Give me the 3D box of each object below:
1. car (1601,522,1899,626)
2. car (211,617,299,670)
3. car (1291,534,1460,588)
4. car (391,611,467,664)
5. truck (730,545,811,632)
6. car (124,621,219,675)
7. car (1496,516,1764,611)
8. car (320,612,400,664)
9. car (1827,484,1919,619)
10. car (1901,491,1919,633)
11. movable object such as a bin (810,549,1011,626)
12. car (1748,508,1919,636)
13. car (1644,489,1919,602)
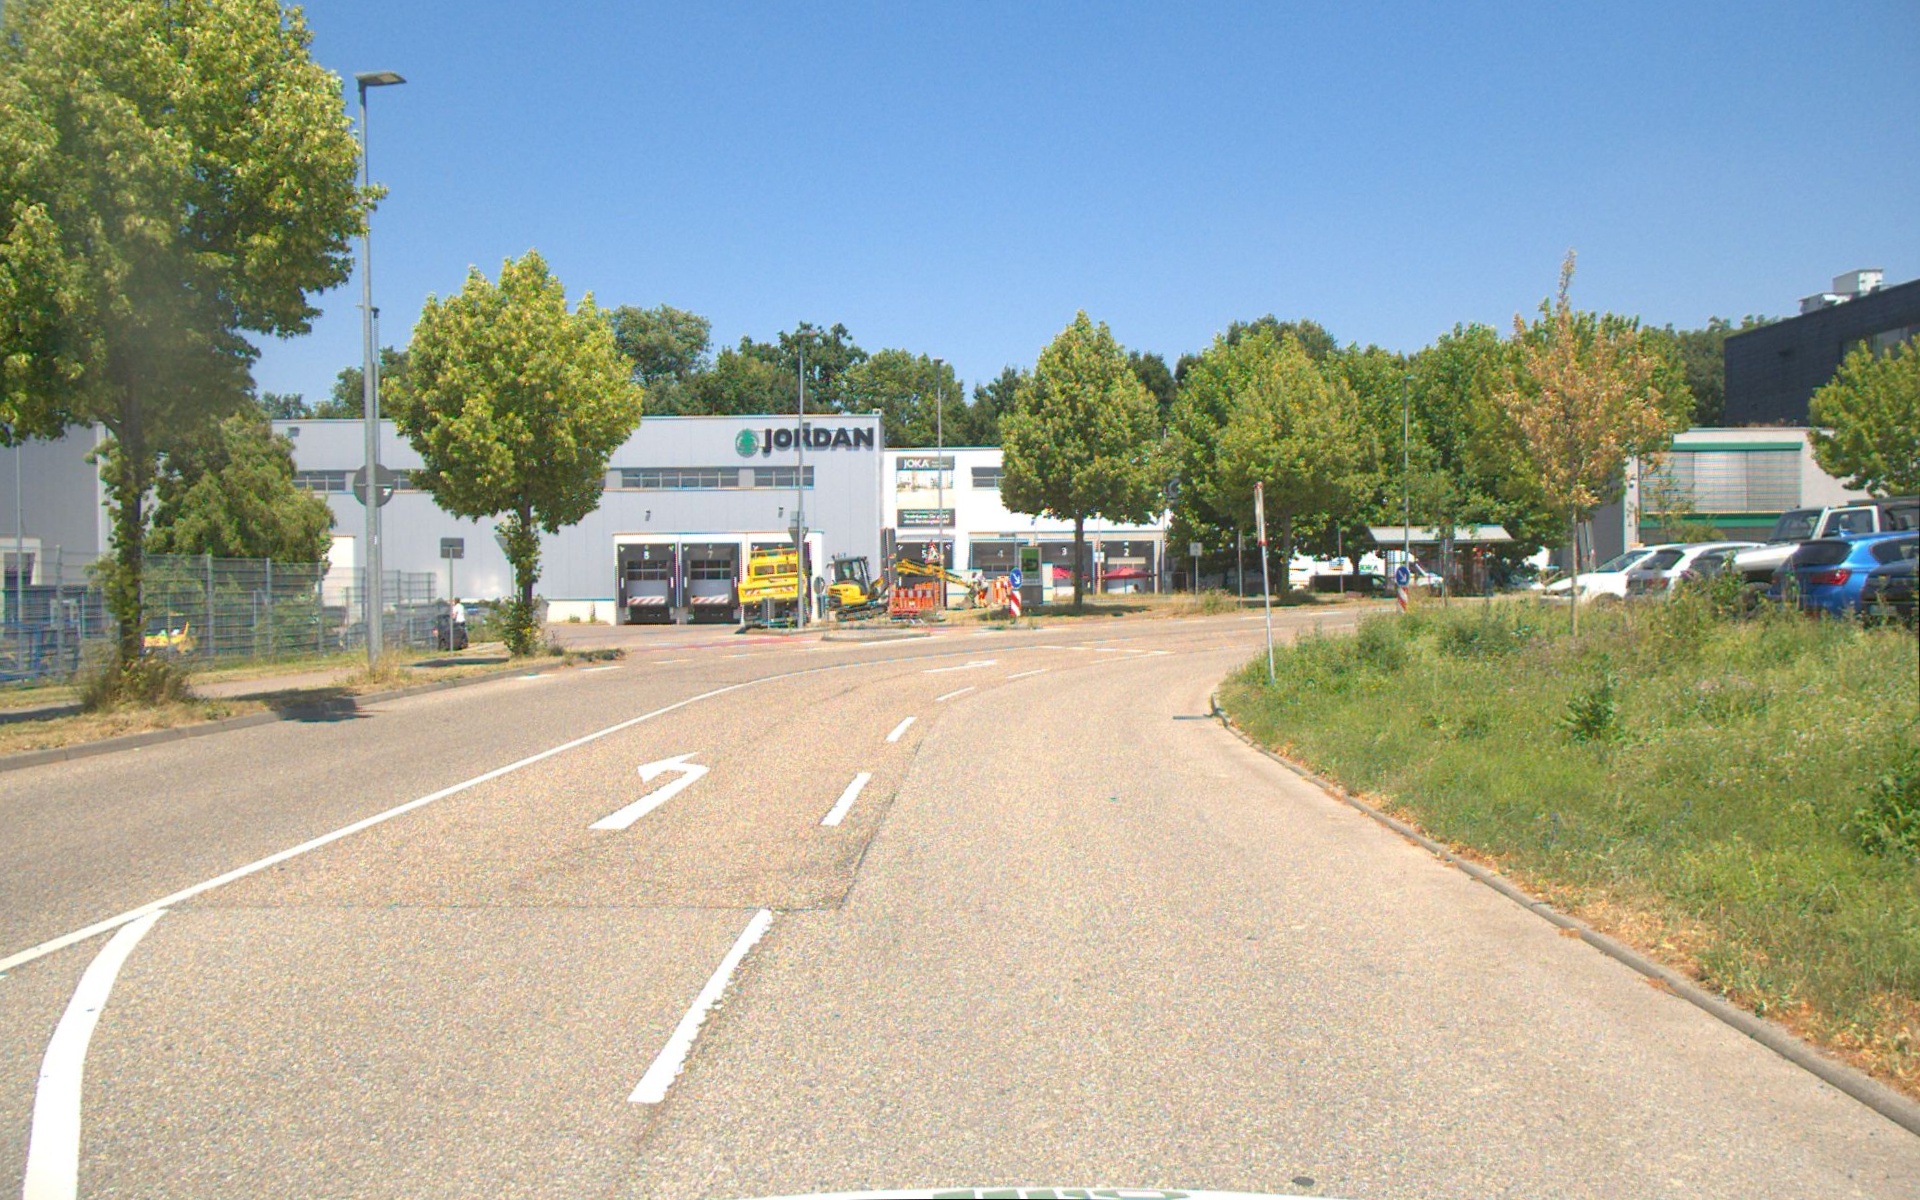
[{"bbox_3d":[12.873,-0.454,27.087,4.080,1.424,1.768,-3,4,-3],"label":"car"},{"bbox_3d":[-26.947,1.637,63.342,1.955,1.578,3.996,-3,4,-6],"label":"car"},{"bbox_3d":[18.546,-1.723,74.009,7.022,2.124,2.001,-2,0,3],"label":"car"},{"bbox_3d":[-20.527,1.432,64.057,1.955,1.578,3.996,-3,4,-6],"label":"car"},{"bbox_3d":[-7.559,-0.540,65.464,2.884,2.935,5.801,-3,4,-8],"label":"truck"},{"bbox_3d":[-29.898,1.798,62.843,1.955,1.578,3.996,-3,4,-6],"label":"car"},{"bbox_3d":[11.904,-0.674,29.520,4.080,1.424,1.768,-3,4,-3],"label":"car"},{"bbox_3d":[-23.121,1.434,63.870,1.955,1.578,3.996,-3,4,-6],"label":"car"},{"bbox_3d":[12.429,-0.659,18.984,4.080,1.424,1.768,-3,4,-3],"label":"car"},{"bbox_3d":[11.779,-0.432,16.287,4.080,1.424,1.768,-3,4,-3],"label":"car"},{"bbox_3d":[-1.876,-0.523,65.834,7.365,2.542,3.671,-2,4,8],"label":"movable object such as a bin"},{"bbox_3d":[12.530,-0.431,21.162,4.080,1.424,1.768,-3,4,-3],"label":"car"},{"bbox_3d":[12.509,-0.840,24.428,4.080,1.424,1.768,-3,4,-3],"label":"car"}]
